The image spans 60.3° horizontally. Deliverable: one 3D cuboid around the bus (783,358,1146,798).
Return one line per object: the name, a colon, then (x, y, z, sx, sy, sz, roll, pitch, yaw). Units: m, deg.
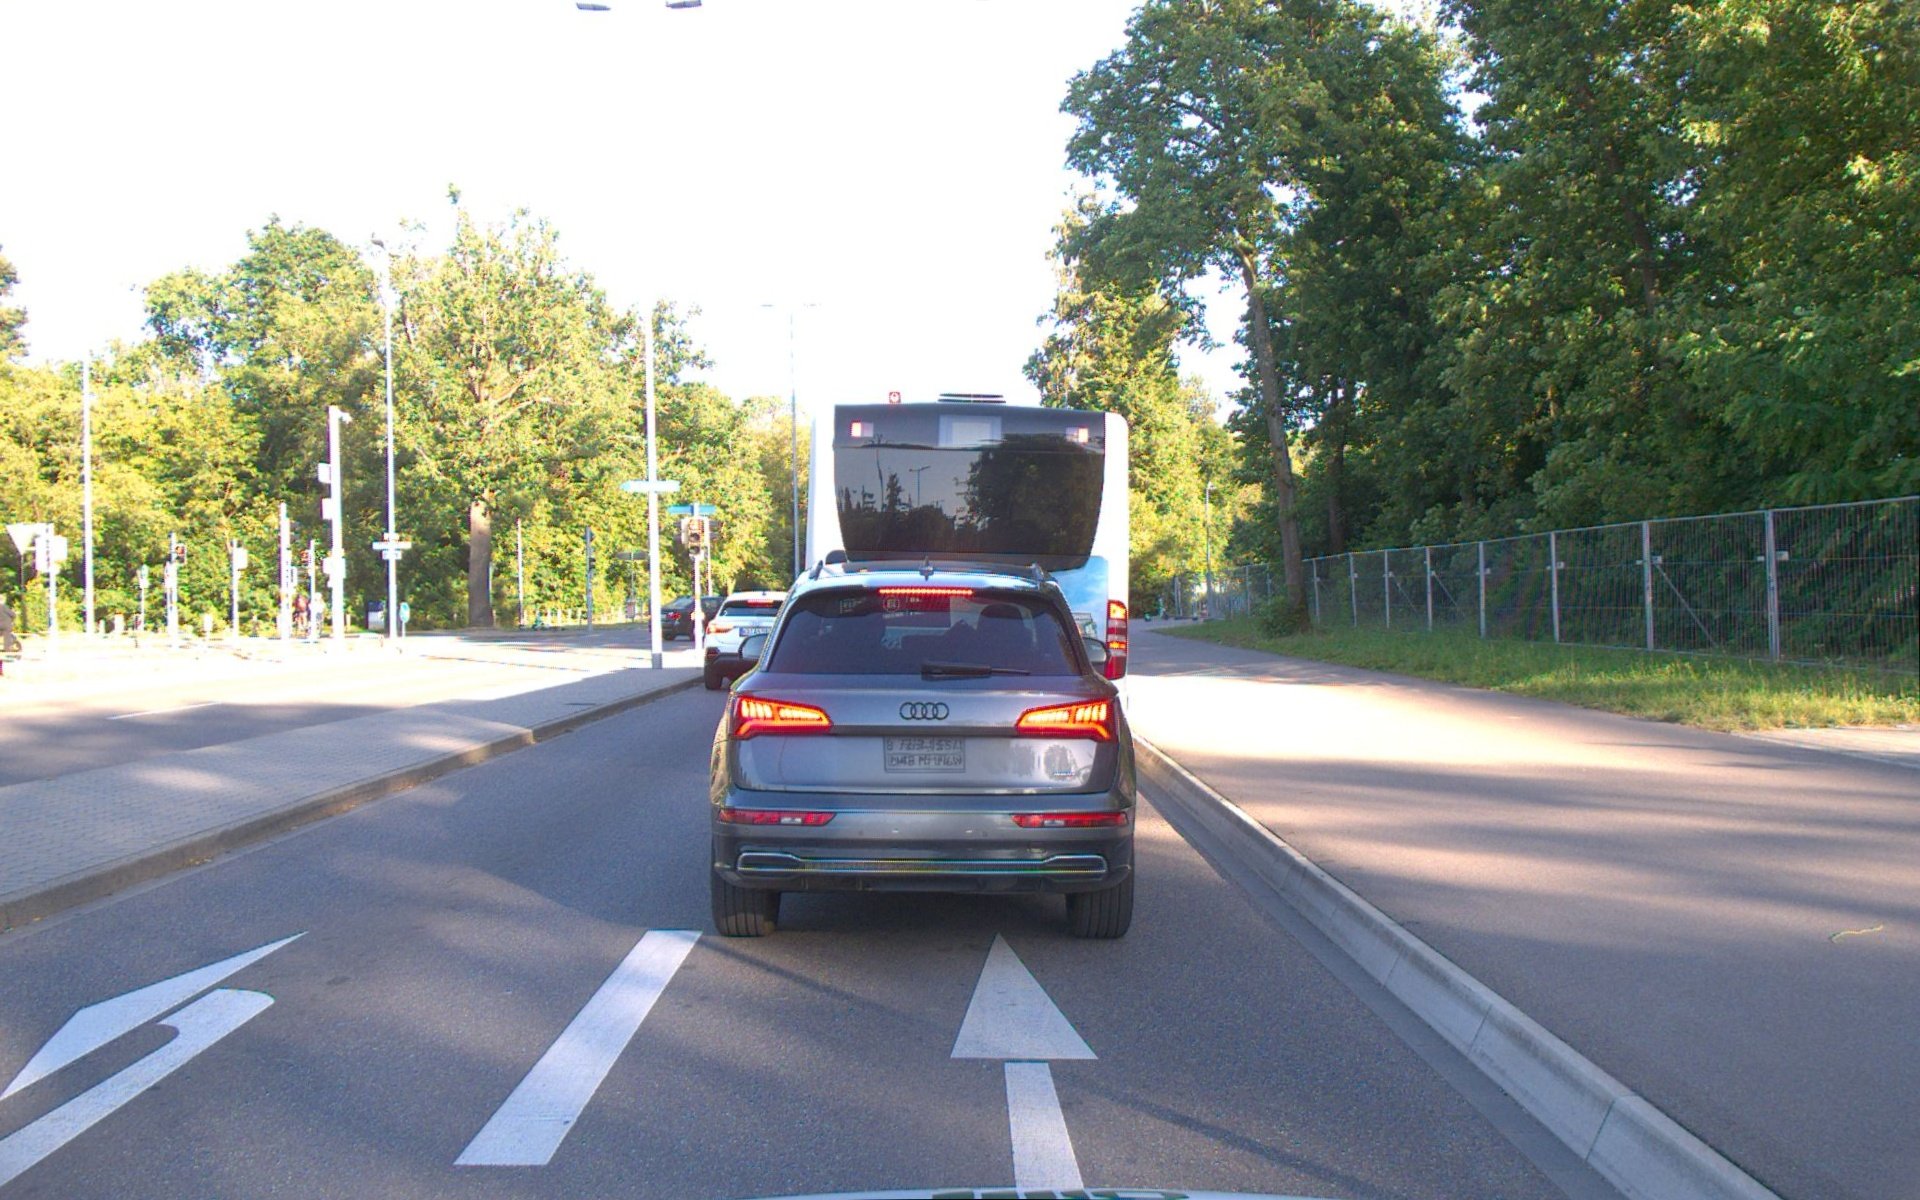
bus: (0.058, -0.202, 15.138, 2.623, 3.196, 5.882, 1, 1, 0)

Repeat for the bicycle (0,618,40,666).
bicycle: (-24.140, 1.056, 41.986, 0.458, 1.198, 2.003, 1, 0, -1)

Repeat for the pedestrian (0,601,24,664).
pedestrian: (-24.169, 0.813, 41.948, 0.472, 1.589, 0.648, 1, -1, -1)

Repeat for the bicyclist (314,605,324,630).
bicyclist: (-24.712, 0.681, 63.764, 0.268, 0.979, 0.240, 1, -1, -6)

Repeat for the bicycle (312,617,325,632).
bicycle: (-24.713, 0.938, 63.718, 0.261, 0.592, 0.838, 1, 0, -6)

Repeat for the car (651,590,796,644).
car: (-7.681, 0.571, 53.791, 4.272, 1.681, 1.978, 1, 0, -32)

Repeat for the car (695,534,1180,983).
car: (-0.113, 0.583, 8.337, 1.830, 1.693, 4.000, 1, 1, -1)

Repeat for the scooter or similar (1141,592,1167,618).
scooter or similar: (9.144, 0.246, 78.118, 1.158, 1.195, 0.659, 1, 0, 11)

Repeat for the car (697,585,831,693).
car: (-3.176, 0.585, 27.452, 1.771, 1.599, 4.000, 1, 1, -1)
